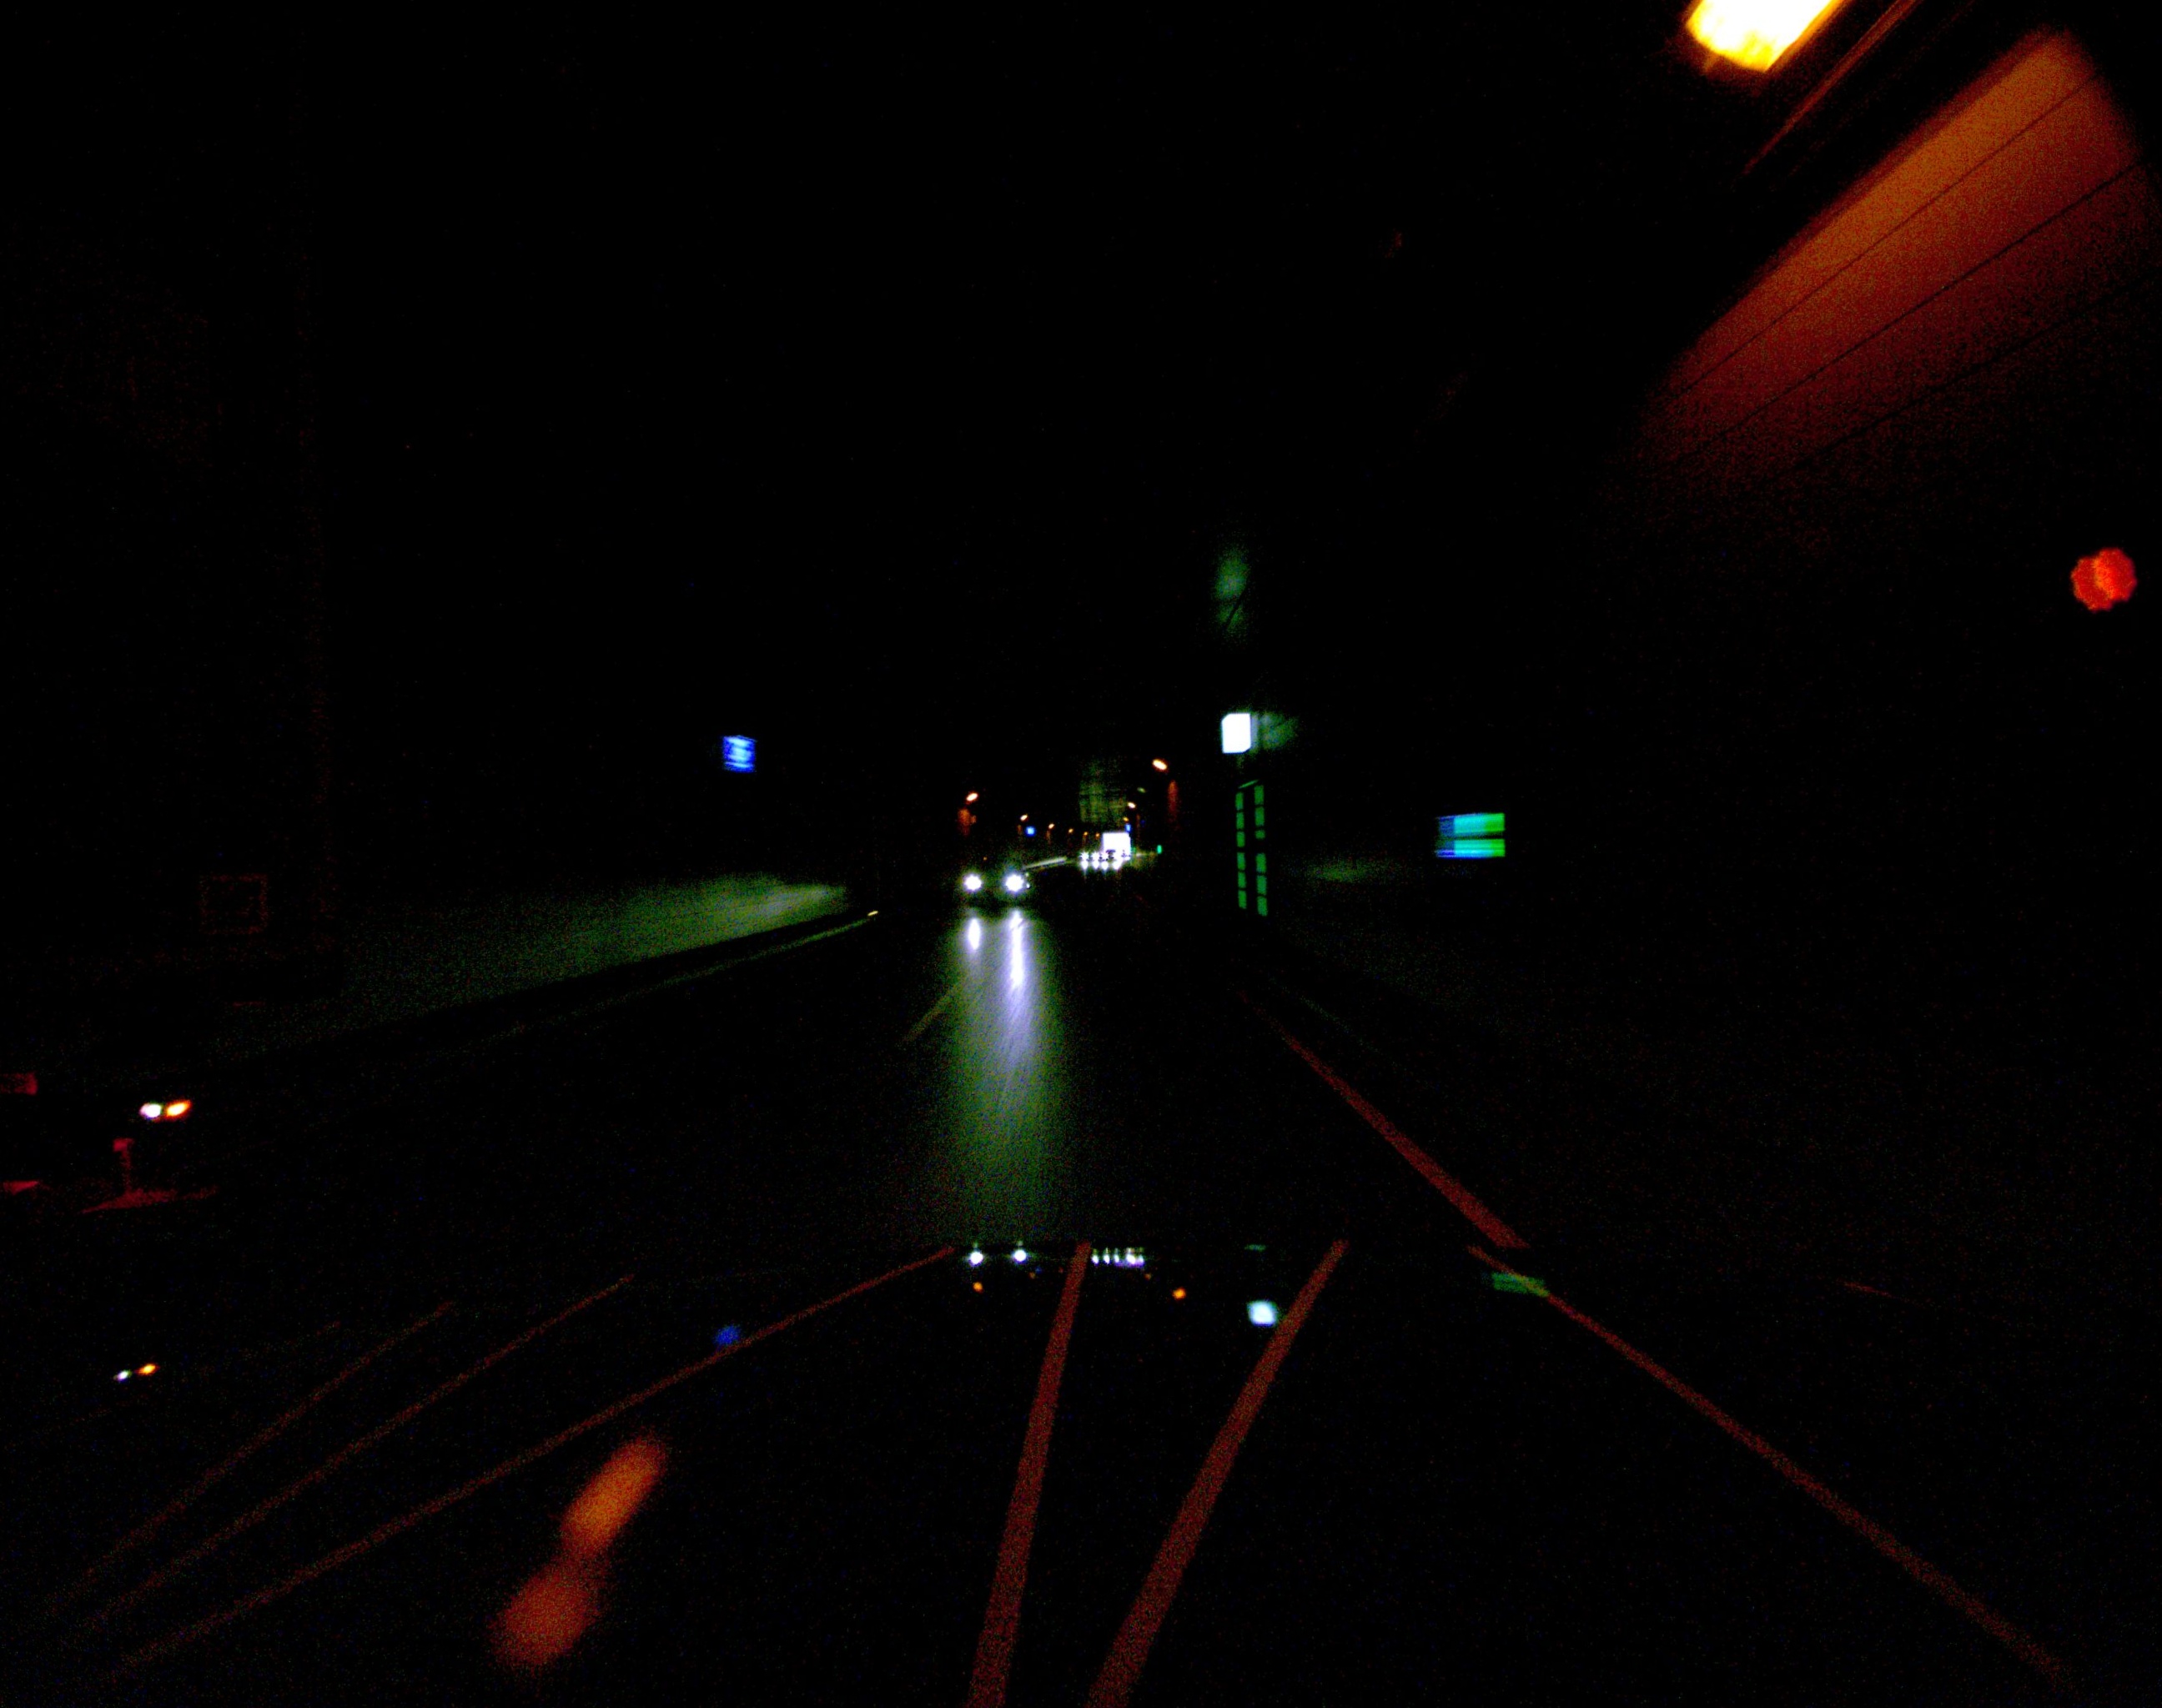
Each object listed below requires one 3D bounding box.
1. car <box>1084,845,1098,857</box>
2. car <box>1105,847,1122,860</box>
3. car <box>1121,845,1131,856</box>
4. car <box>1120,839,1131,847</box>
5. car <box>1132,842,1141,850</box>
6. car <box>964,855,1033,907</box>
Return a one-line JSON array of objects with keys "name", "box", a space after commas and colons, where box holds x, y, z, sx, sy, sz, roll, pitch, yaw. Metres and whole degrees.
[{"name": "car", "box": [1.485, -0.417, 108.467, 1.735, 1.565, 4.001, -3, 0, 3]}, {"name": "car", "box": [4.295, -0.108, 99.698, 1.819, 1.589, 4.002, -1, 1, 7]}, {"name": "car", "box": [8.195, -0.659, 138.562, 1.714, 1.729, 4.000, -2, 2, 5]}, {"name": "car", "box": [10.979, -2.741, 187.517, 1.997, 1.904, 4.002, -2, 1, 10]}, {"name": "car", "box": [12.662, -1.788, 173.184, 1.810, 1.576, 4.002, -3, 1, 8]}, {"name": "car", "box": [-2.556, 0.790, 24.284, 1.735, 1.395, 3.798, -2, 1, 0]}]
